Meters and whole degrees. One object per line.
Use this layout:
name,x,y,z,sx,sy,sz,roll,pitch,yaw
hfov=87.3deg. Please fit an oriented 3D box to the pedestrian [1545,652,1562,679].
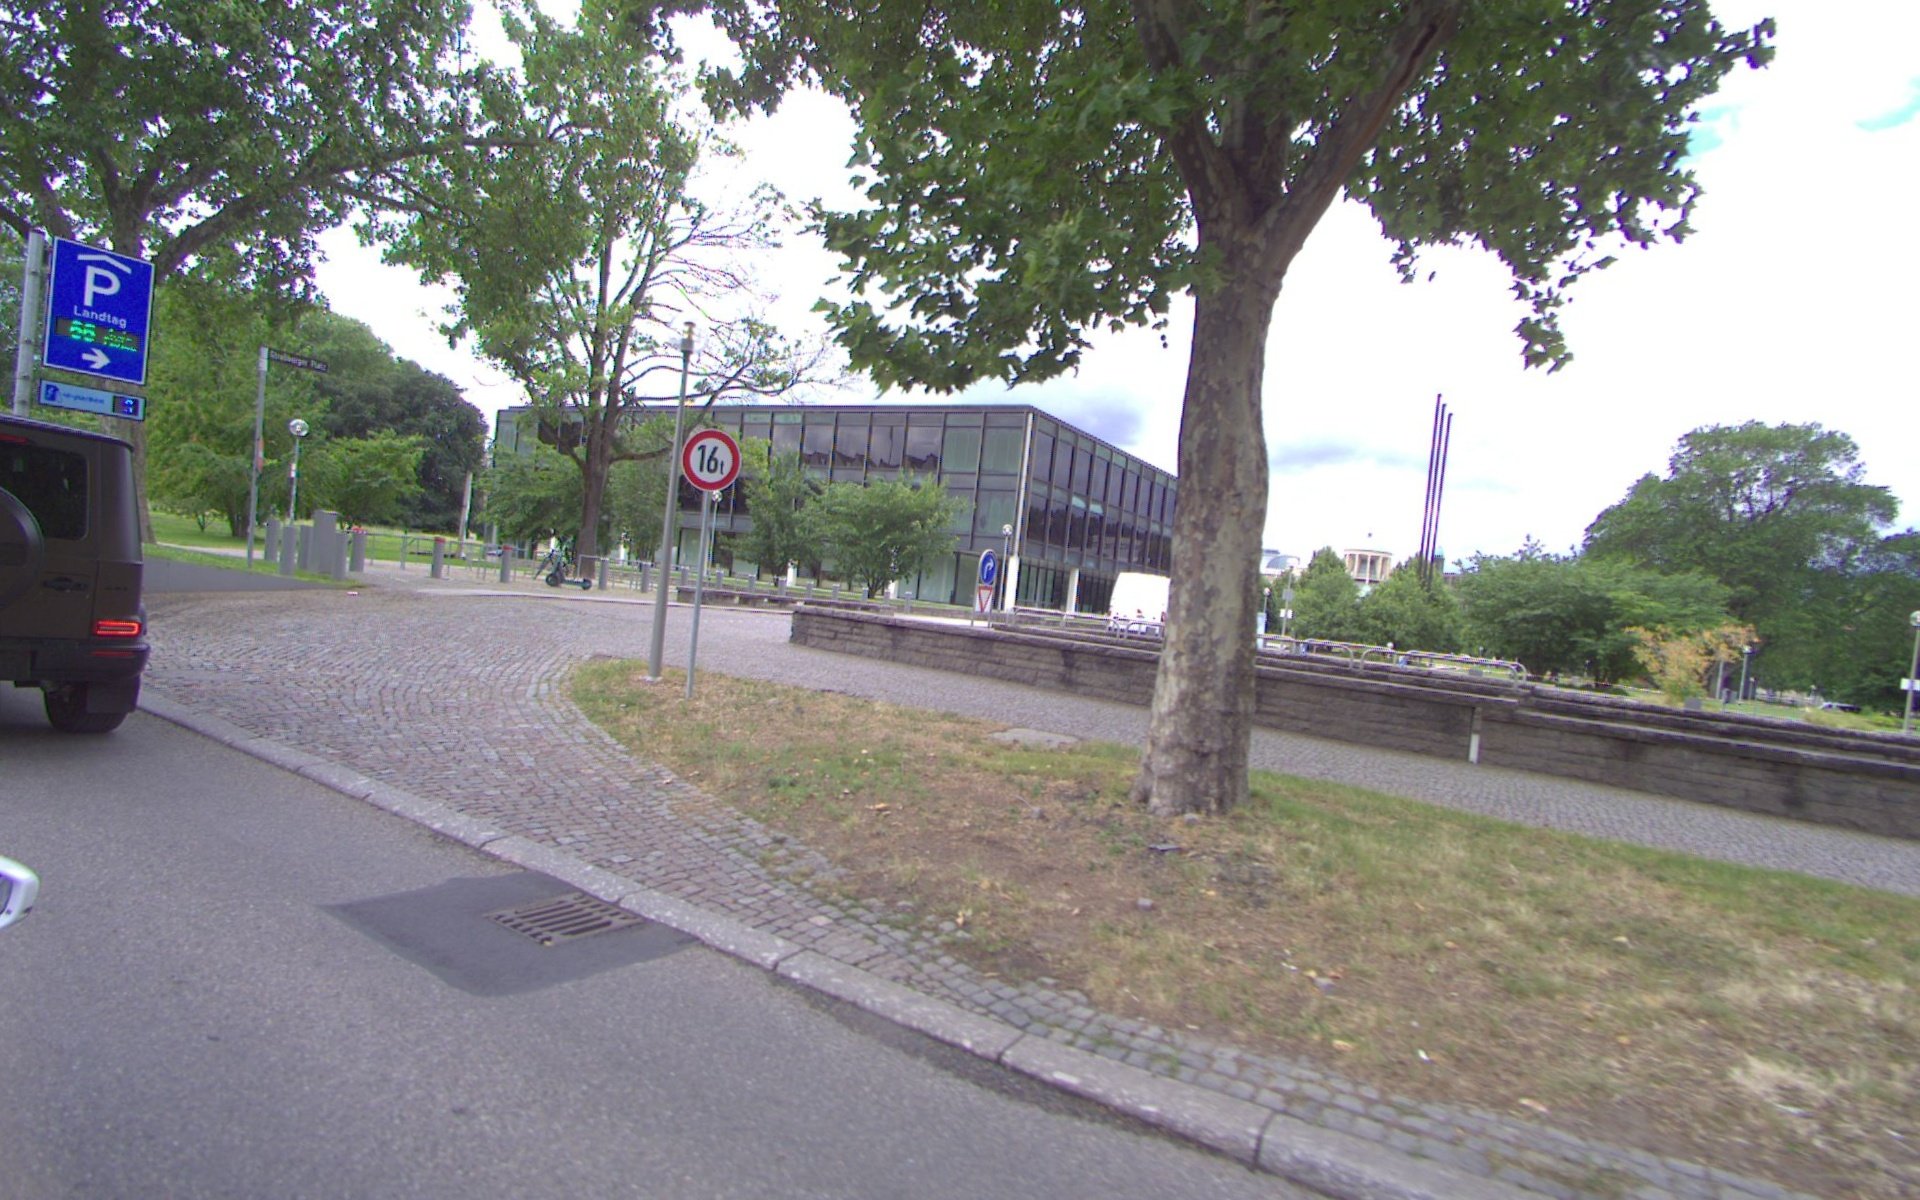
pedestrian,42.686,4.687,72.355,0.802,1.825,0.857,7,1,30

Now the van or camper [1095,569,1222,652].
van or camper,6.985,0.439,34.855,2.283,2.347,5.705,5,-2,32

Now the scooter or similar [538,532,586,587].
scooter or similar,-10.037,-1.014,25.361,0.716,1.262,0.717,6,0,31

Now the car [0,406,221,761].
car,-7.185,-0.276,6.633,4.629,1.915,1.981,6,-2,32

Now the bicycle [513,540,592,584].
bicycle,-12.638,-1.168,31.272,0.674,1.156,2.192,7,1,32
